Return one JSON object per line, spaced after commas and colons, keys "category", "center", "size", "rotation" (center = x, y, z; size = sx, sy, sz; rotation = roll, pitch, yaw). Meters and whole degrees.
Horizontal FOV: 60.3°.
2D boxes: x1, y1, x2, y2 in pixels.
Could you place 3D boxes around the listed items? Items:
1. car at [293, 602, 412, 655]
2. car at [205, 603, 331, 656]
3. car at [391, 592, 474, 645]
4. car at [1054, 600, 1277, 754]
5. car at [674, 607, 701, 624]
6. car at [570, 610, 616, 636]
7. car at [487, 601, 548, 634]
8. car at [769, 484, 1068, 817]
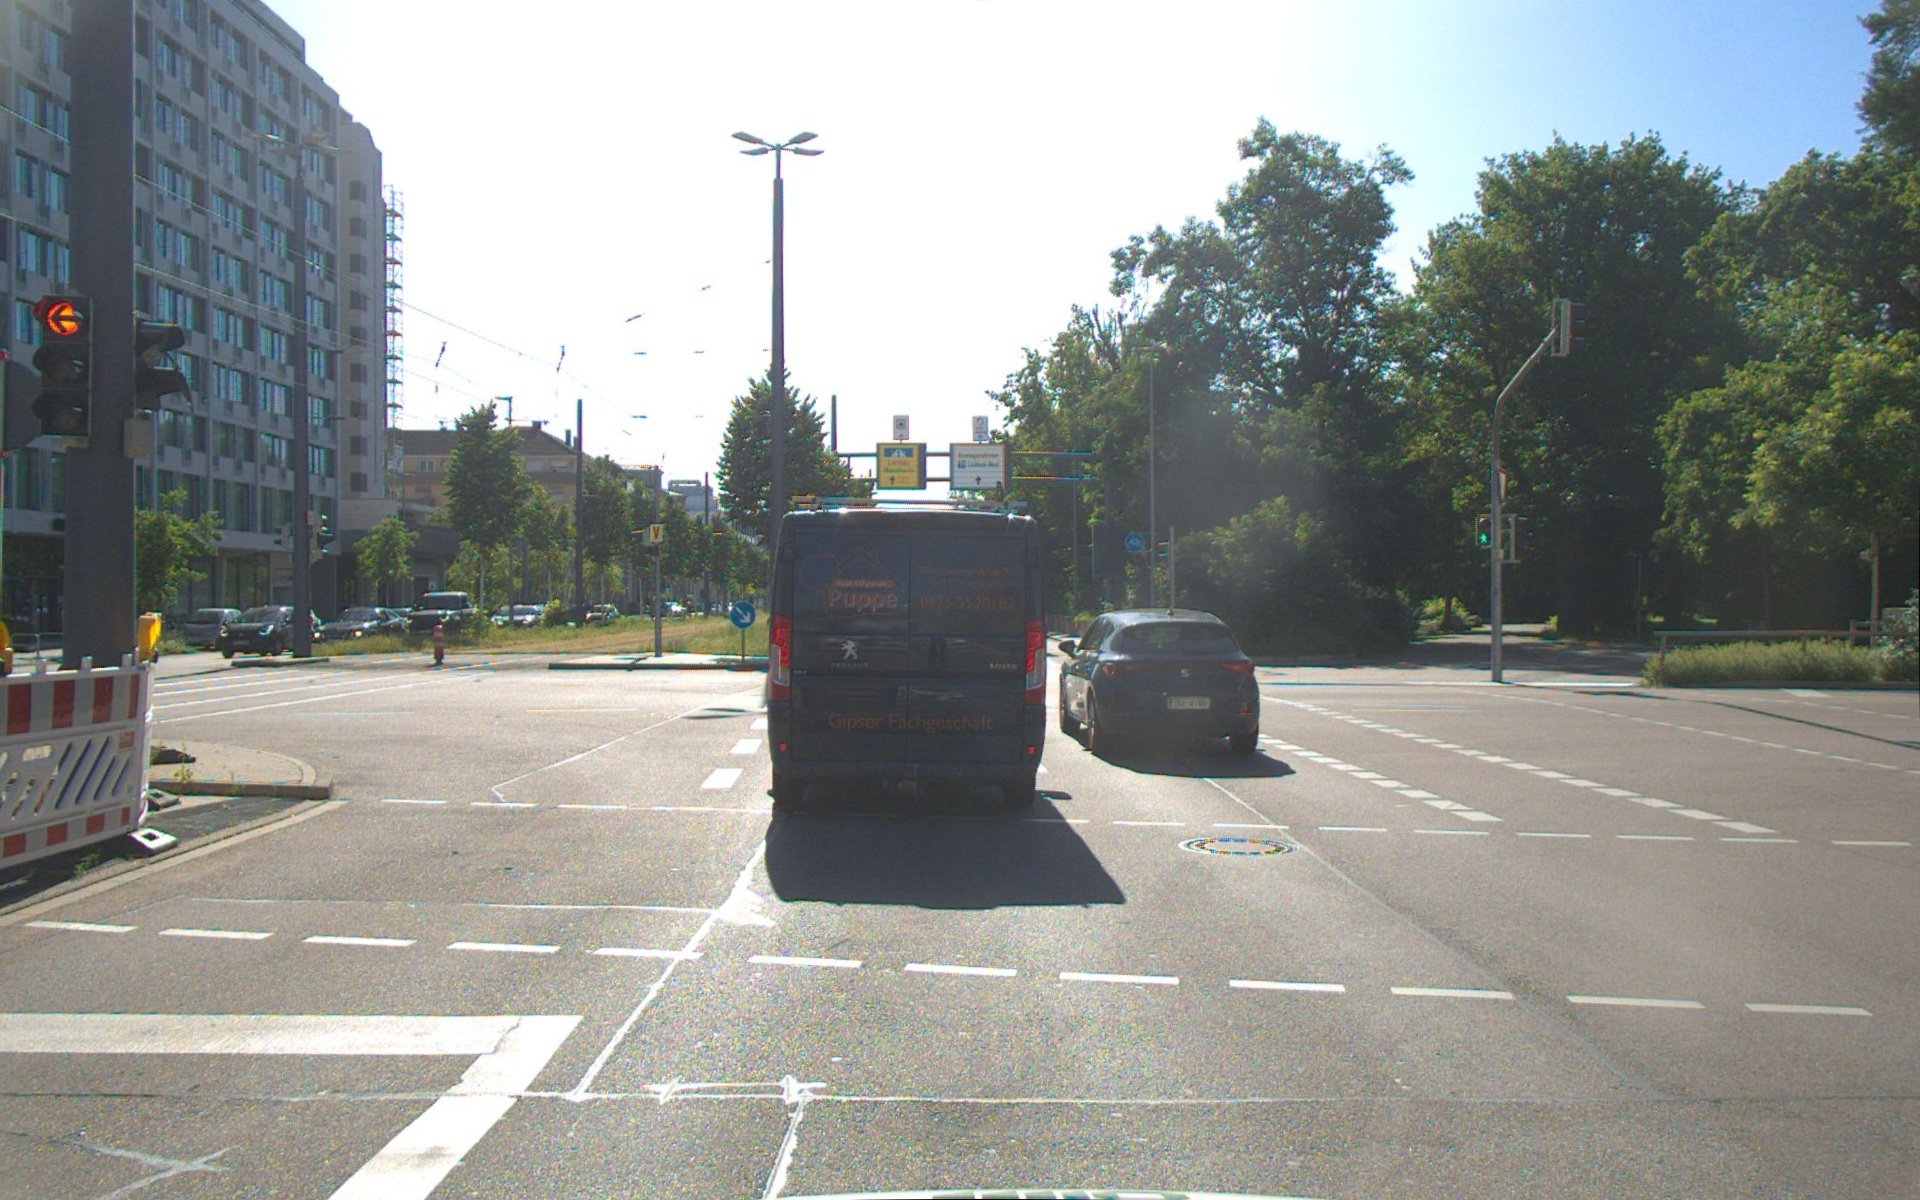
{"category": "car", "center": [-19.061, 0.869, 52.075], "size": [1.951, 1.579, 4.002], "rotation": [1, 0, 5]}
{"category": "car", "center": [-21.521, 0.892, 51.577], "size": [1.951, 1.579, 4.002], "rotation": [1, 0, 5]}
{"category": "car", "center": [-19.240, 0.665, 60.503], "size": [1.955, 1.851, 4.281], "rotation": [1, 0, -5]}
{"category": "car", "center": [2.128, 0.758, 18.154], "size": [1.728, 1.488, 3.997], "rotation": [1, 0, -3]}
{"category": "car", "center": [-26.161, 1.487, 159.043], "size": [1.953, 1.579, 4.000], "rotation": [1, 0, 0]}
{"category": "car", "center": [-23.097, 1.426, 104.115], "size": [1.952, 1.579, 4.000], "rotation": [1, 0, 0]}
{"category": "car", "center": [-22.246, 0.870, 83.276], "size": [1.952, 1.579, 4.000], "rotation": [1, 0, 0]}
{"category": "car", "center": [-0.345, 0.354, 13.482], "size": [2.040, 2.288, 3.998], "rotation": [1, 0, -2]}
